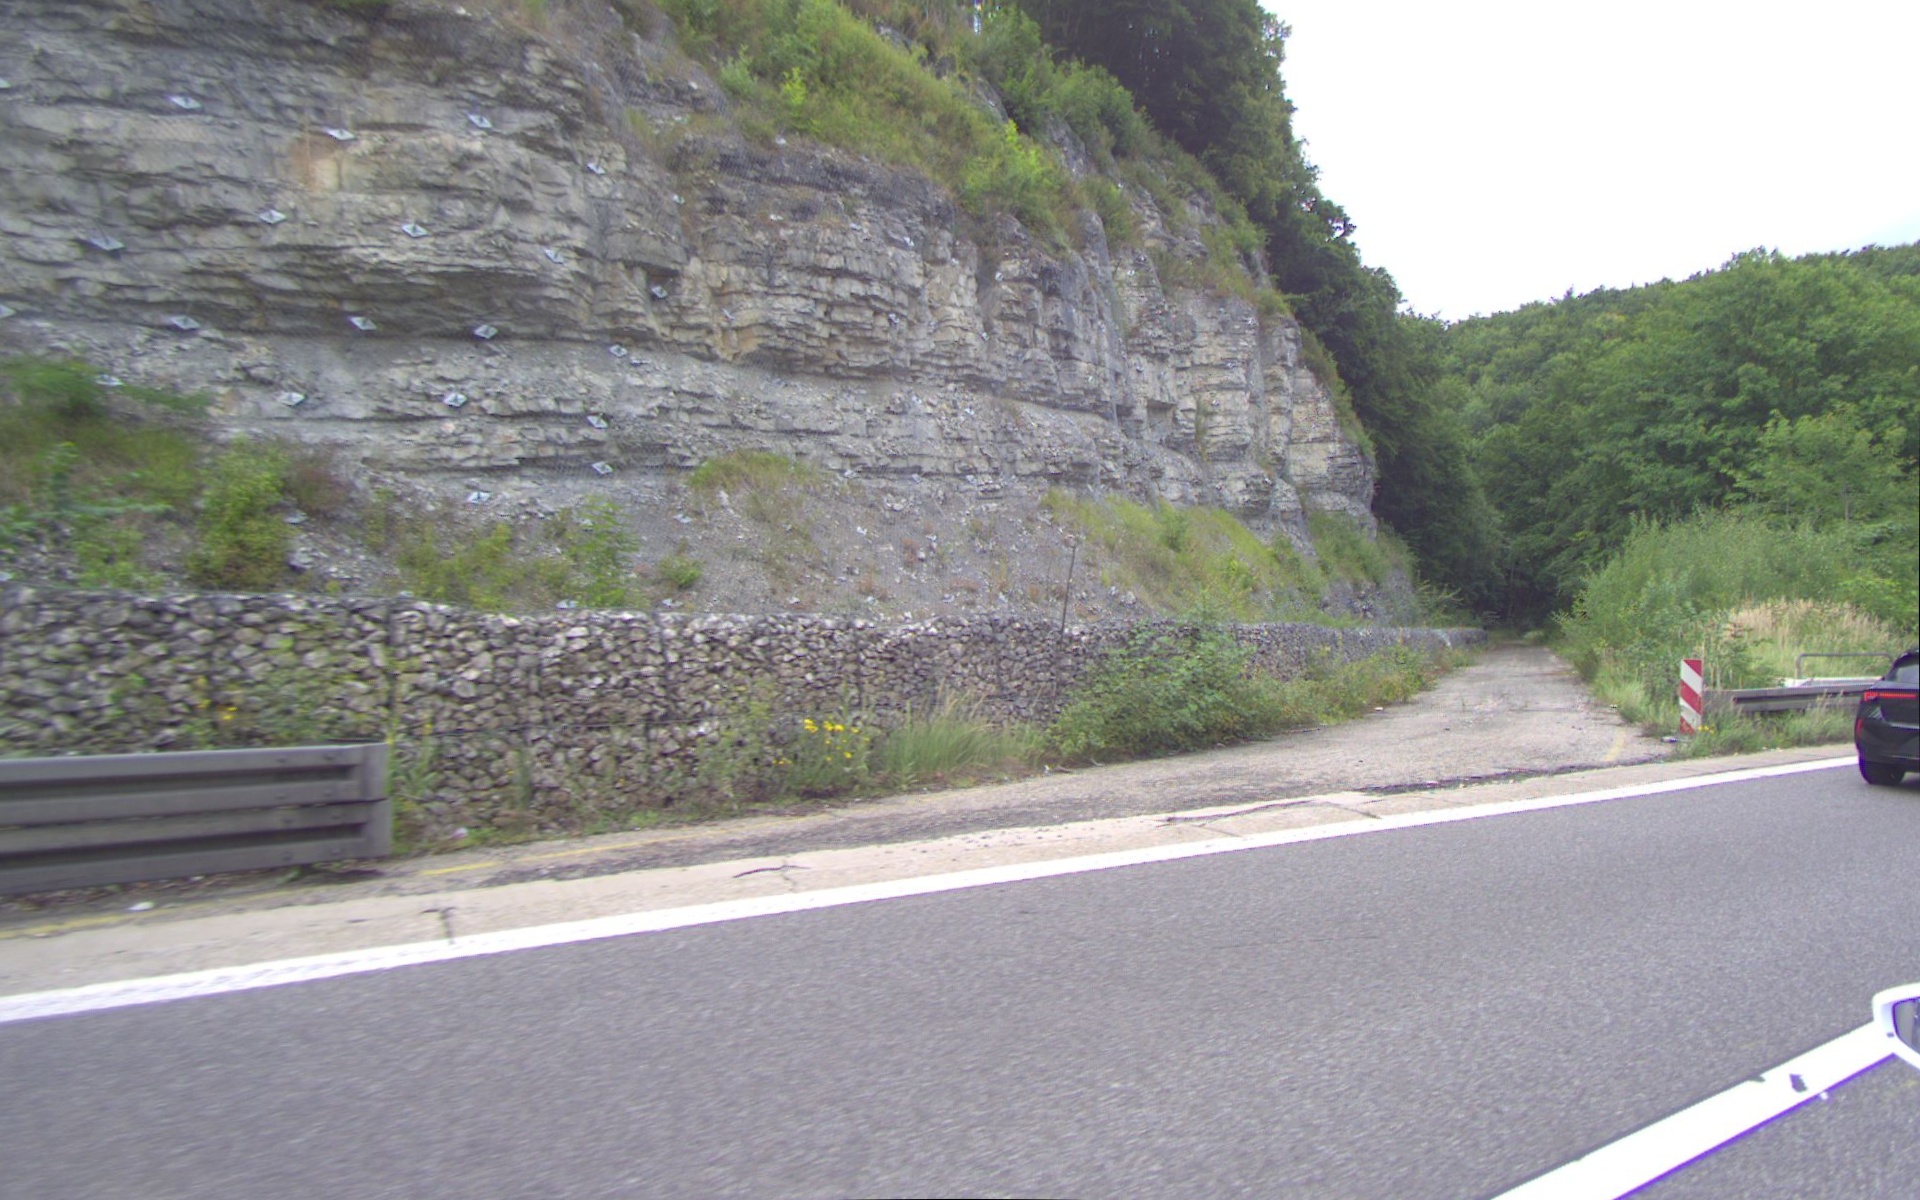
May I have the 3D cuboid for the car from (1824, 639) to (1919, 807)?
[{"bbox_3d":[10.622,1.163,9.958,4.528,1.480,1.765,2,-2,-30],"label":"car"}]
